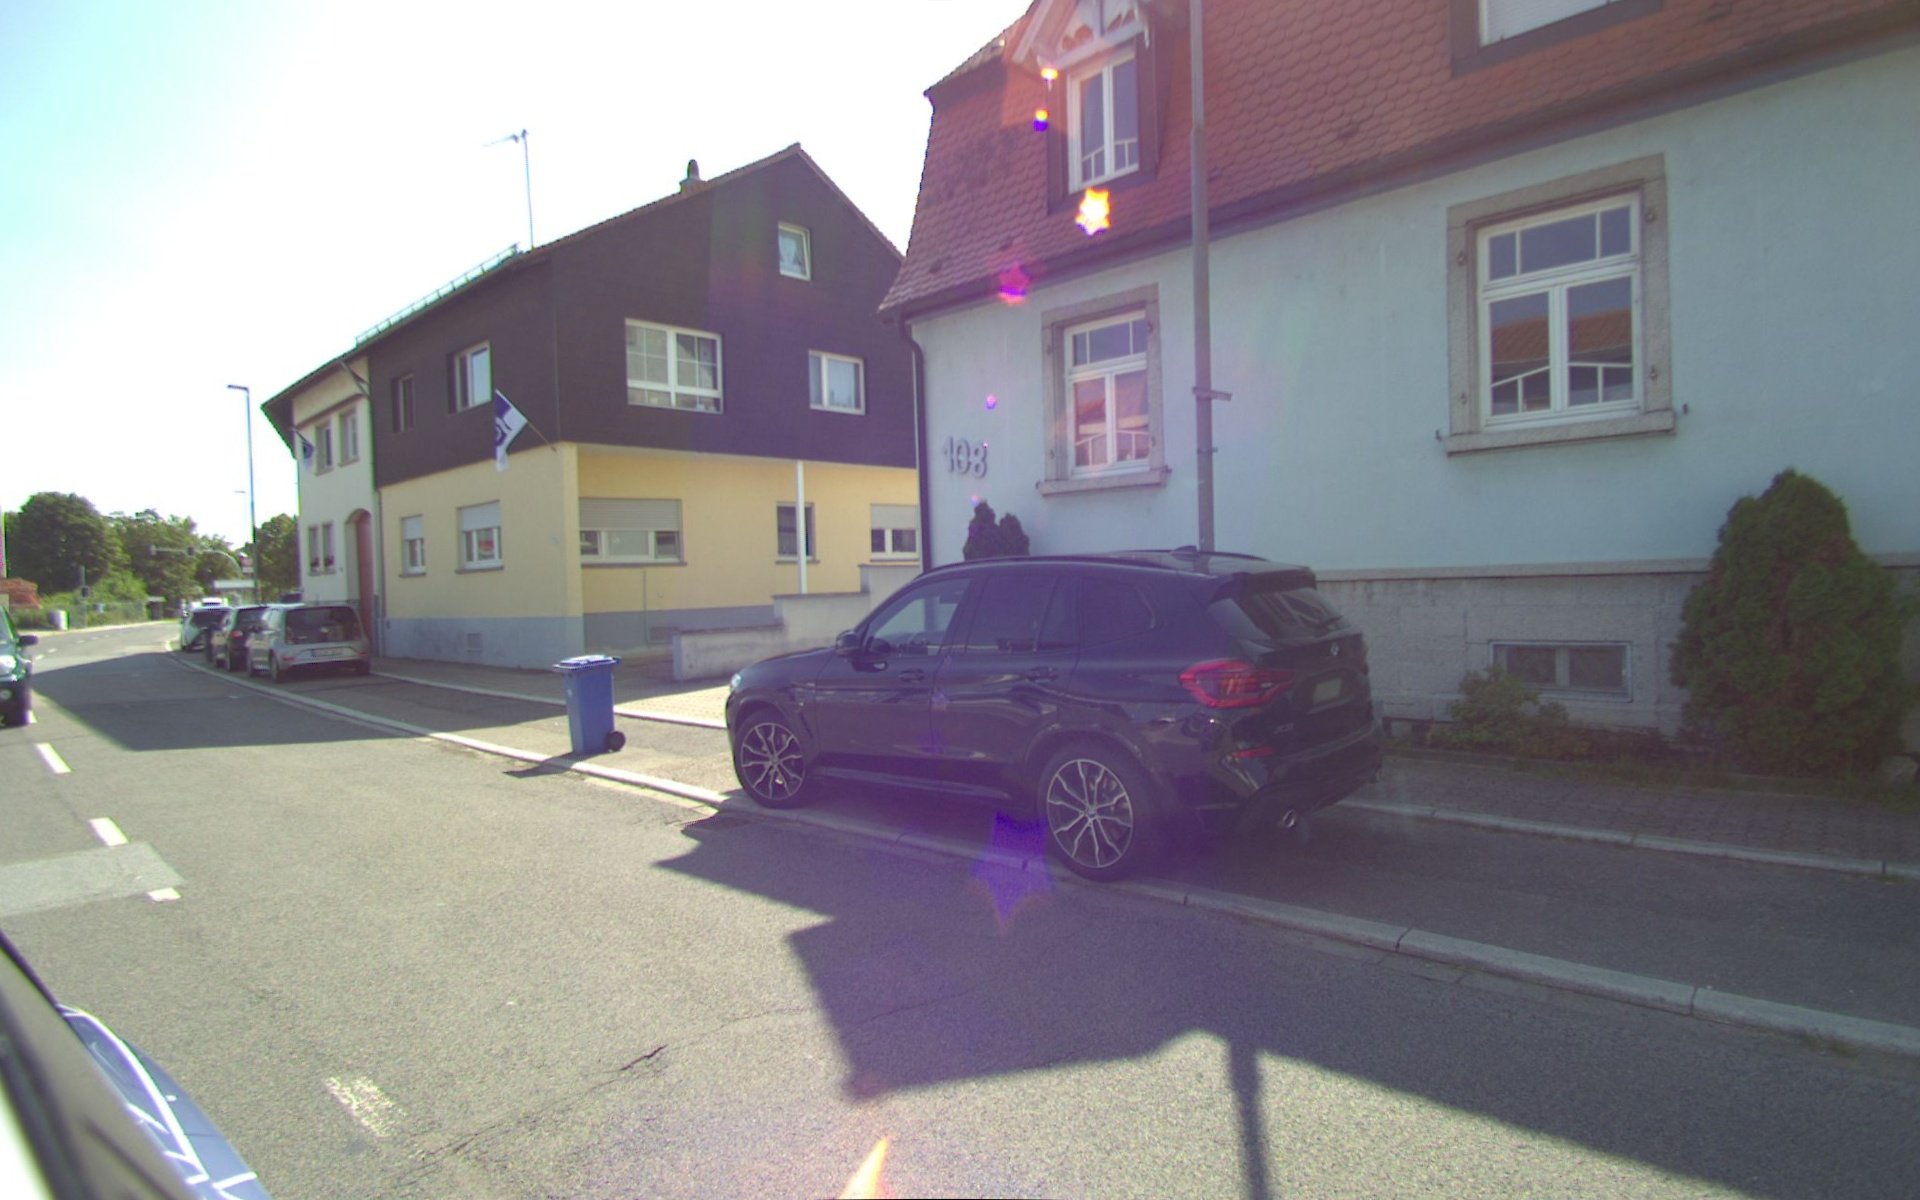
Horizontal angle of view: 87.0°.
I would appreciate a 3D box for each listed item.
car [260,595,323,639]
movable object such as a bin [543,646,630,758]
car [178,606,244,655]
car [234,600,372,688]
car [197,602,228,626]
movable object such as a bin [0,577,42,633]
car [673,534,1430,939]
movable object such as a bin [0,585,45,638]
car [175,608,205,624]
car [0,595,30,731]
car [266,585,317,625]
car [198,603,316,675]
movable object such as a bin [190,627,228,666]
[{"bbox_3d":[-31.037,0.746,47.113,1.811,1.806,4.357,-5,2,-26],"label":"car"},{"bbox_3d":[-3.647,0.975,9.886,0.531,0.989,0.590,-1,2,43],"label":"movable object such as a bin"},{"bbox_3d":[-25.082,0.974,33.842,1.662,1.473,3.657,-3,2,-38],"label":"car"},{"bbox_3d":[-13.325,0.809,20.434,1.621,1.512,3.785,-5,3,-43],"label":"car"},{"bbox_3d":[-84.268,1.557,114.177,1.907,2.521,5.856,-1,1,-28],"label":"car"},{"bbox_3d":[-76.200,0.524,72.028,15.839,4.048,2.780,-2,0,-36],"label":"movable object such as a bin"},{"bbox_3d":[0.268,0.553,6.561,4.666,1.680,1.899,-1,3,43],"label":"car"},{"bbox_3d":[-80.440,1.020,78.946,13.078,4.196,2.870,-2,0,-36],"label":"movable object such as a bin"},{"bbox_3d":[-78.837,1.618,103.641,1.815,1.604,4.119,-1,1,-28],"label":"car"},{"bbox_3d":[-14.003,0.858,13.827,1.822,1.709,4.403,-1,-1,-42],"label":"car"},{"bbox_3d":[-38.701,0.282,58.528,2.099,2.000,5.278,-8,4,-35],"label":"car"},{"bbox_3d":[-16.760,0.859,24.044,1.659,1.447,4.000,-6,4,-43],"label":"car"},{"bbox_3d":[-19.665,1.214,26.495,0.825,0.935,0.546,-2,4,41],"label":"movable object such as a bin"}]
